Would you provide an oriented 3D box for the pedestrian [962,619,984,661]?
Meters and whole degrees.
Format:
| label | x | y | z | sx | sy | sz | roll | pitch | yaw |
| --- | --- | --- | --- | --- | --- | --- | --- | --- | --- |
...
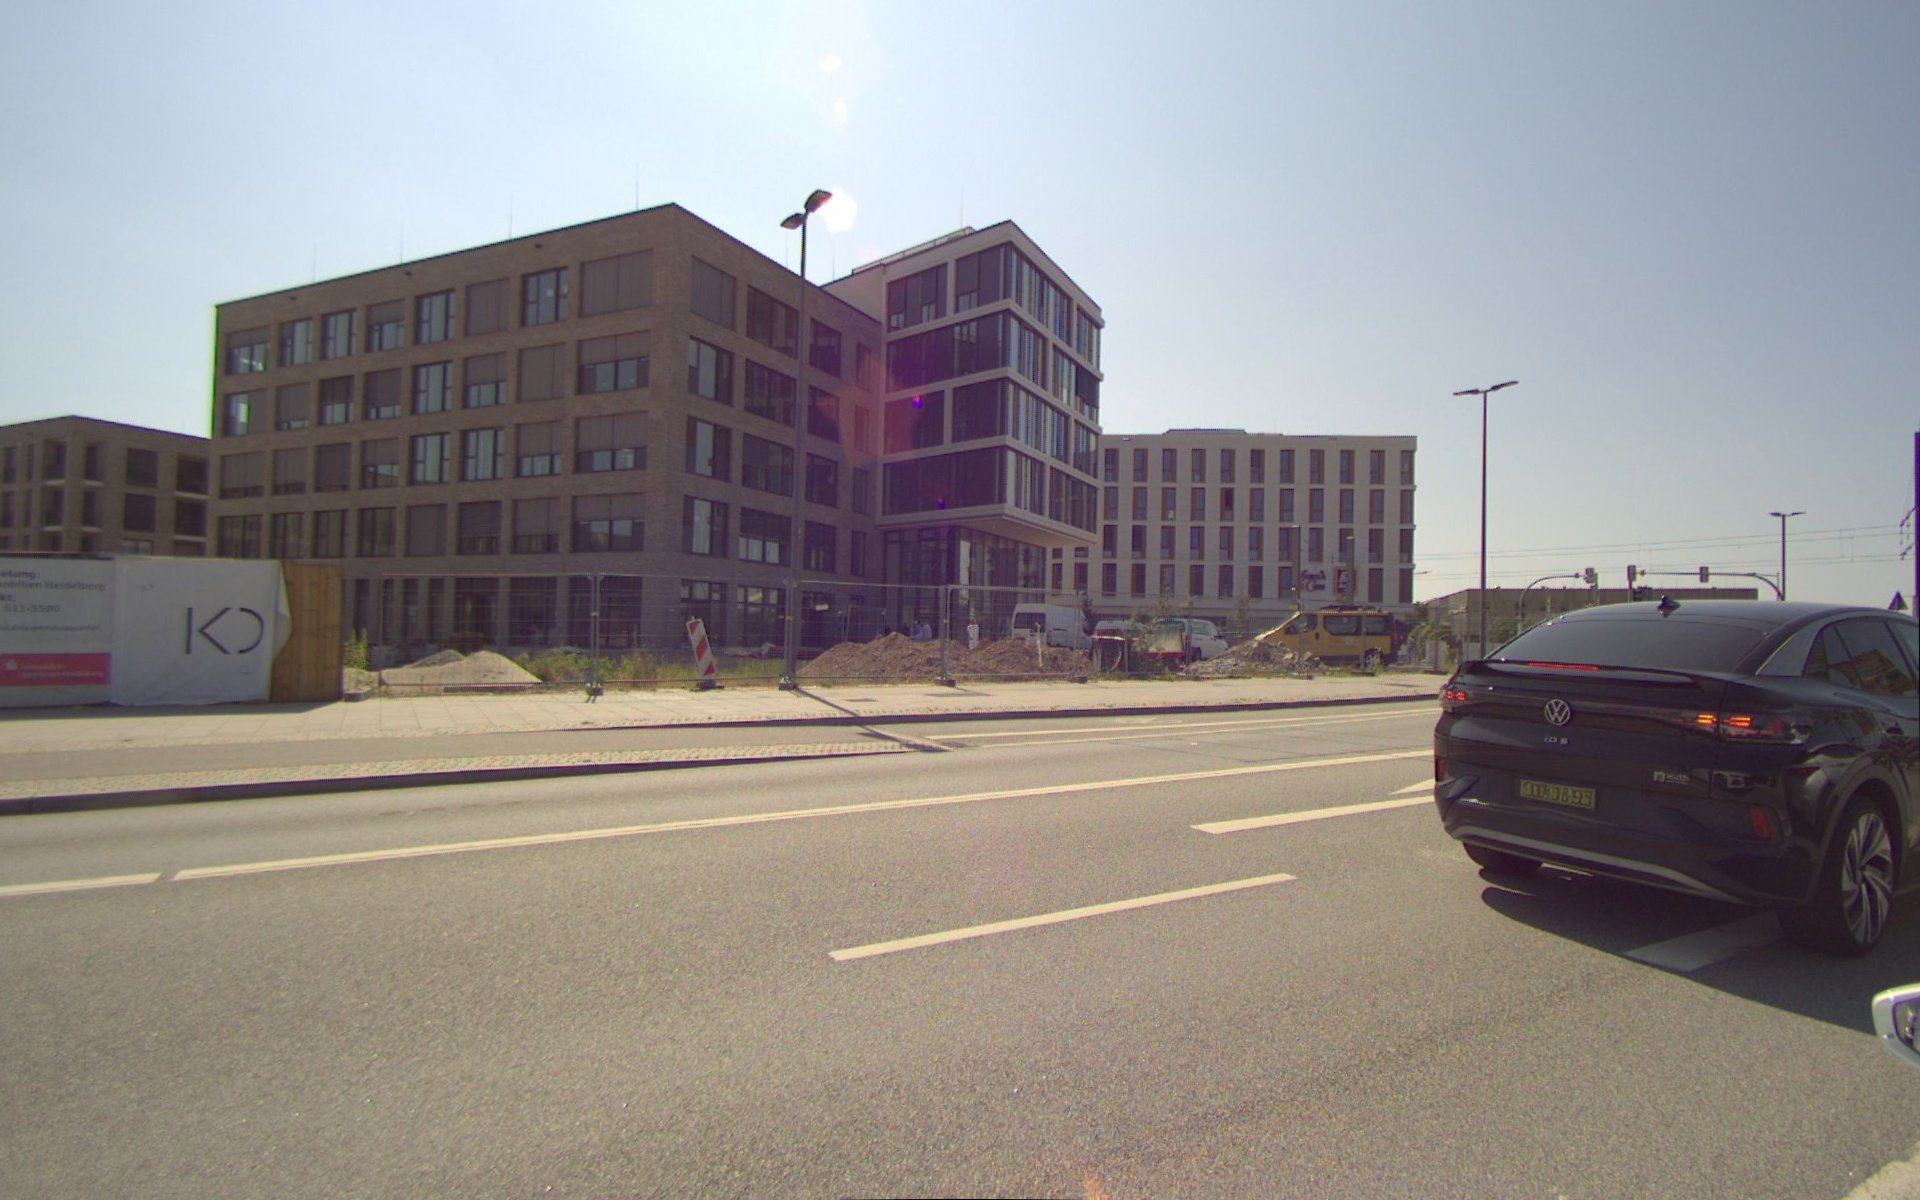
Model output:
| label | x | y | z | sx | sy | sz | roll | pitch | yaw |
| --- | --- | --- | --- | --- | --- | --- | --- | --- | --- |
| pedestrian | 0.539 | 1.693 | 42.417 | 0.734 | 1.741 | 0.699 | 2 | 0 | 16 |

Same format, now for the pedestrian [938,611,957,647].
| label | x | y | z | sx | sy | sz | roll | pitch | yaw |
| --- | --- | --- | --- | --- | --- | --- | --- | --- | --- |
| pedestrian | -0.597 | 1.397 | 48.970 | 0.734 | 1.741 | 0.699 | 2 | 0 | 16 |

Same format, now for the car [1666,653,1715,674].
| label | x | y | z | sx | sy | sz | roll | pitch | yaw |
| --- | --- | --- | --- | --- | --- | --- | --- | --- | --- |
| car | 52.220 | 4.510 | 71.871 | 1.787 | 1.348 | 4.000 | 2 | -2 | 20 |

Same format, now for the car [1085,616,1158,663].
| label | x | y | z | sx | sy | sz | roll | pitch | yaw |
| --- | --- | --- | --- | --- | --- | --- | --- | --- | --- |
| car | 7.067 | 1.670 | 43.682 | 1.759 | 1.881 | 3.842 | 2 | 0 | 32 |

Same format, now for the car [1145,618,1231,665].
| label | x | y | z | sx | sy | sz | roll | pitch | yaw |
| --- | --- | --- | --- | --- | --- | --- | --- | --- | --- |
| car | 9.635 | 1.686 | 42.175 | 1.841 | 1.797 | 4.637 | 2 | 0 | 36 |

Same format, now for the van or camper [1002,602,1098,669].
| label | x | y | z | sx | sy | sz | roll | pitch | yaw |
| --- | --- | --- | --- | --- | --- | --- | --- | --- | --- |
| van or camper | 4.107 | 1.548 | 45.054 | 2.273 | 2.772 | 4.975 | 2 | 0 | 32 |

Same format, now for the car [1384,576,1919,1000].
| label | x | y | z | sx | sy | sz | roll | pitch | yaw |
| --- | --- | --- | --- | --- | --- | --- | --- | --- | --- |
| car | 4.643 | 0.791 | 5.820 | 4.315 | 1.663 | 1.793 | 2 | 0 | -30 |

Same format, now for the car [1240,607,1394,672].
| label | x | y | z | sx | sy | sz | roll | pitch | yaw |
| --- | --- | --- | --- | --- | --- | --- | --- | --- | --- |
| car | 11.910 | 1.289 | 33.784 | 4.533 | 1.988 | 1.991 | 2 | 0 | 9 |

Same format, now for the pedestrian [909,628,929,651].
| label | x | y | z | sx | sy | sz | roll | pitch | yaw |
| --- | --- | --- | --- | --- | --- | --- | --- | --- | --- |
| pedestrian | -1.945 | 1.865 | 47.399 | 0.734 | 1.041 | 0.699 | 2 | 0 | 16 |
